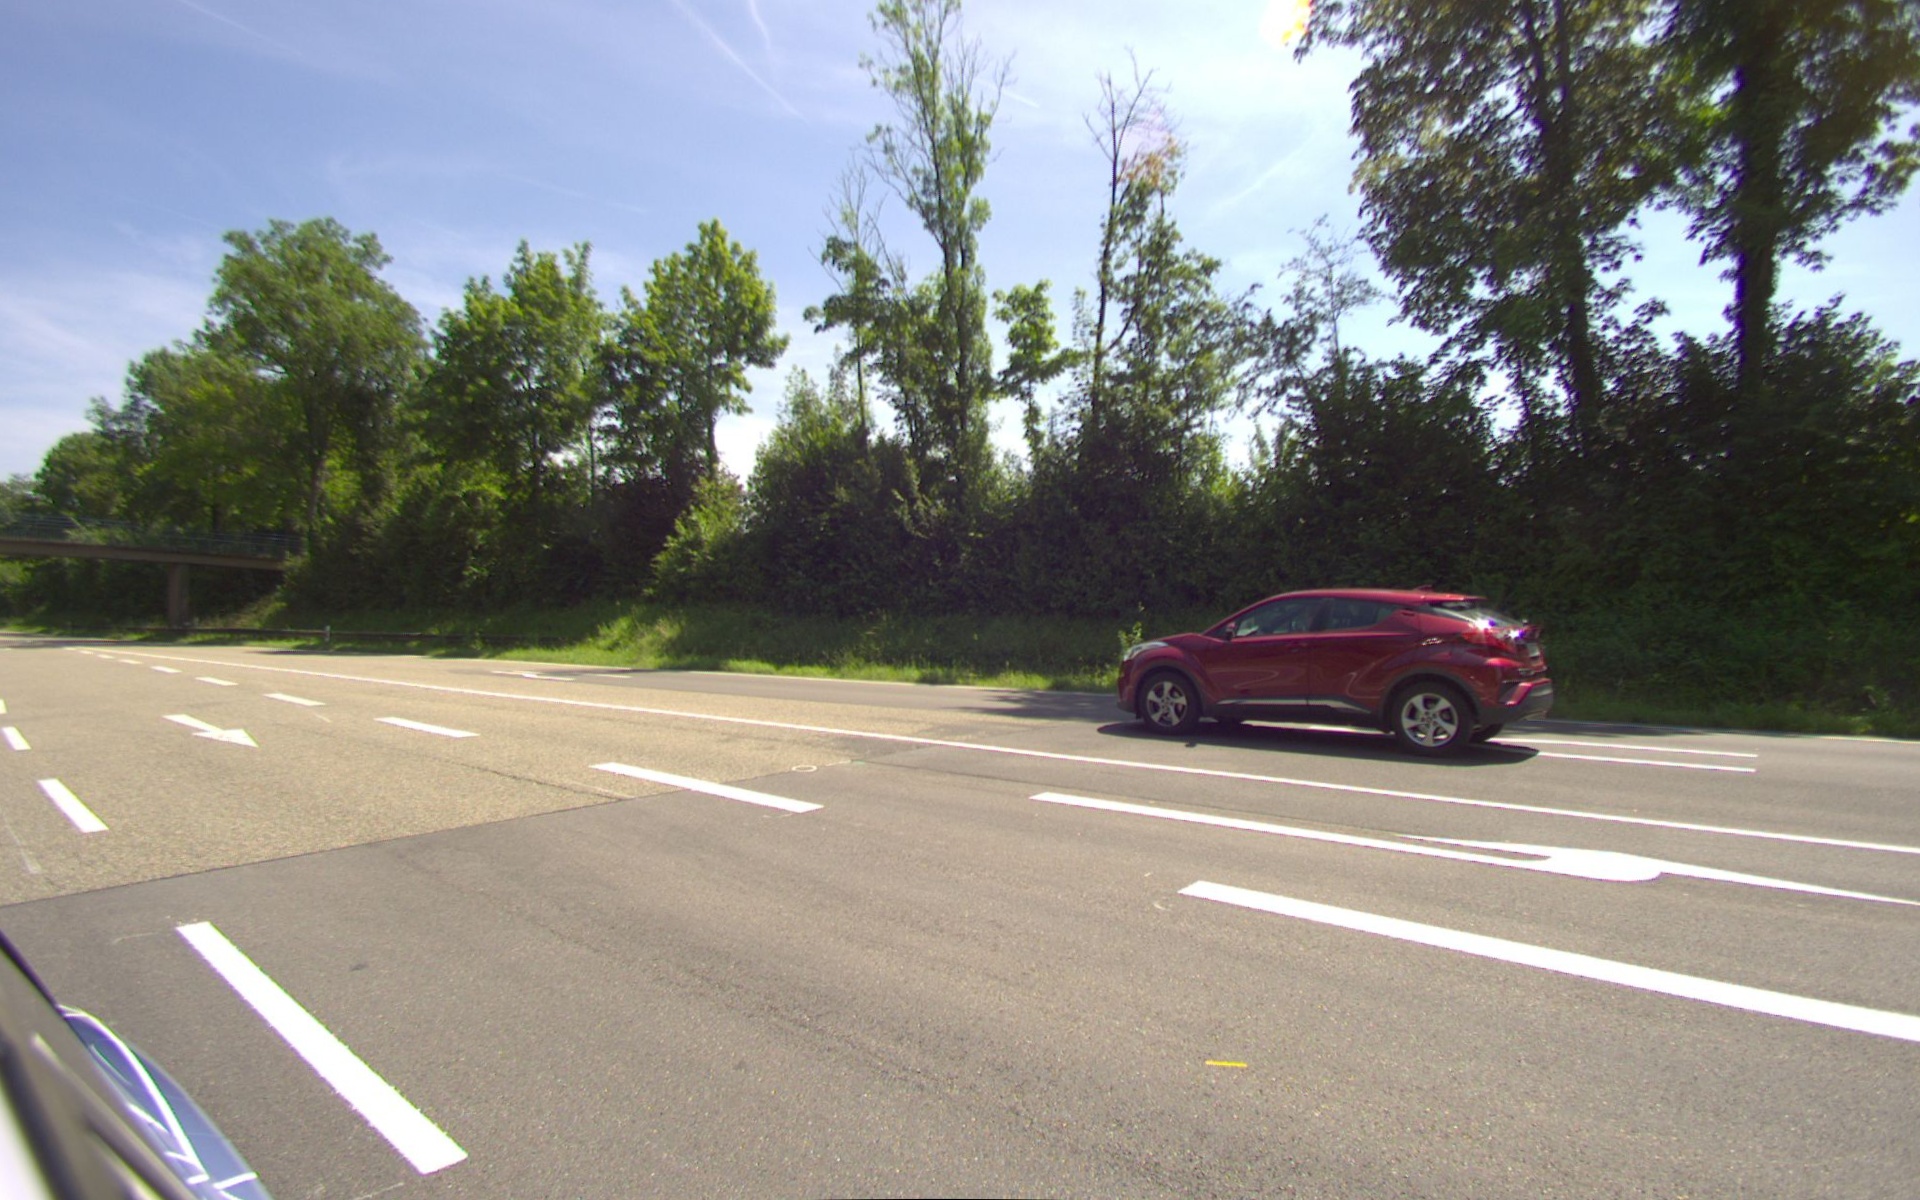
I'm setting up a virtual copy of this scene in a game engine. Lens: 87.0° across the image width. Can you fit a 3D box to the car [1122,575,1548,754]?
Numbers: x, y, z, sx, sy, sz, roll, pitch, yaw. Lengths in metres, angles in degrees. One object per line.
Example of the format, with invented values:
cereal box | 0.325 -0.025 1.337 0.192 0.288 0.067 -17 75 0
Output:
car | 3.792 0.599 10.485 3.759 1.520 1.885 -1 -2 38
